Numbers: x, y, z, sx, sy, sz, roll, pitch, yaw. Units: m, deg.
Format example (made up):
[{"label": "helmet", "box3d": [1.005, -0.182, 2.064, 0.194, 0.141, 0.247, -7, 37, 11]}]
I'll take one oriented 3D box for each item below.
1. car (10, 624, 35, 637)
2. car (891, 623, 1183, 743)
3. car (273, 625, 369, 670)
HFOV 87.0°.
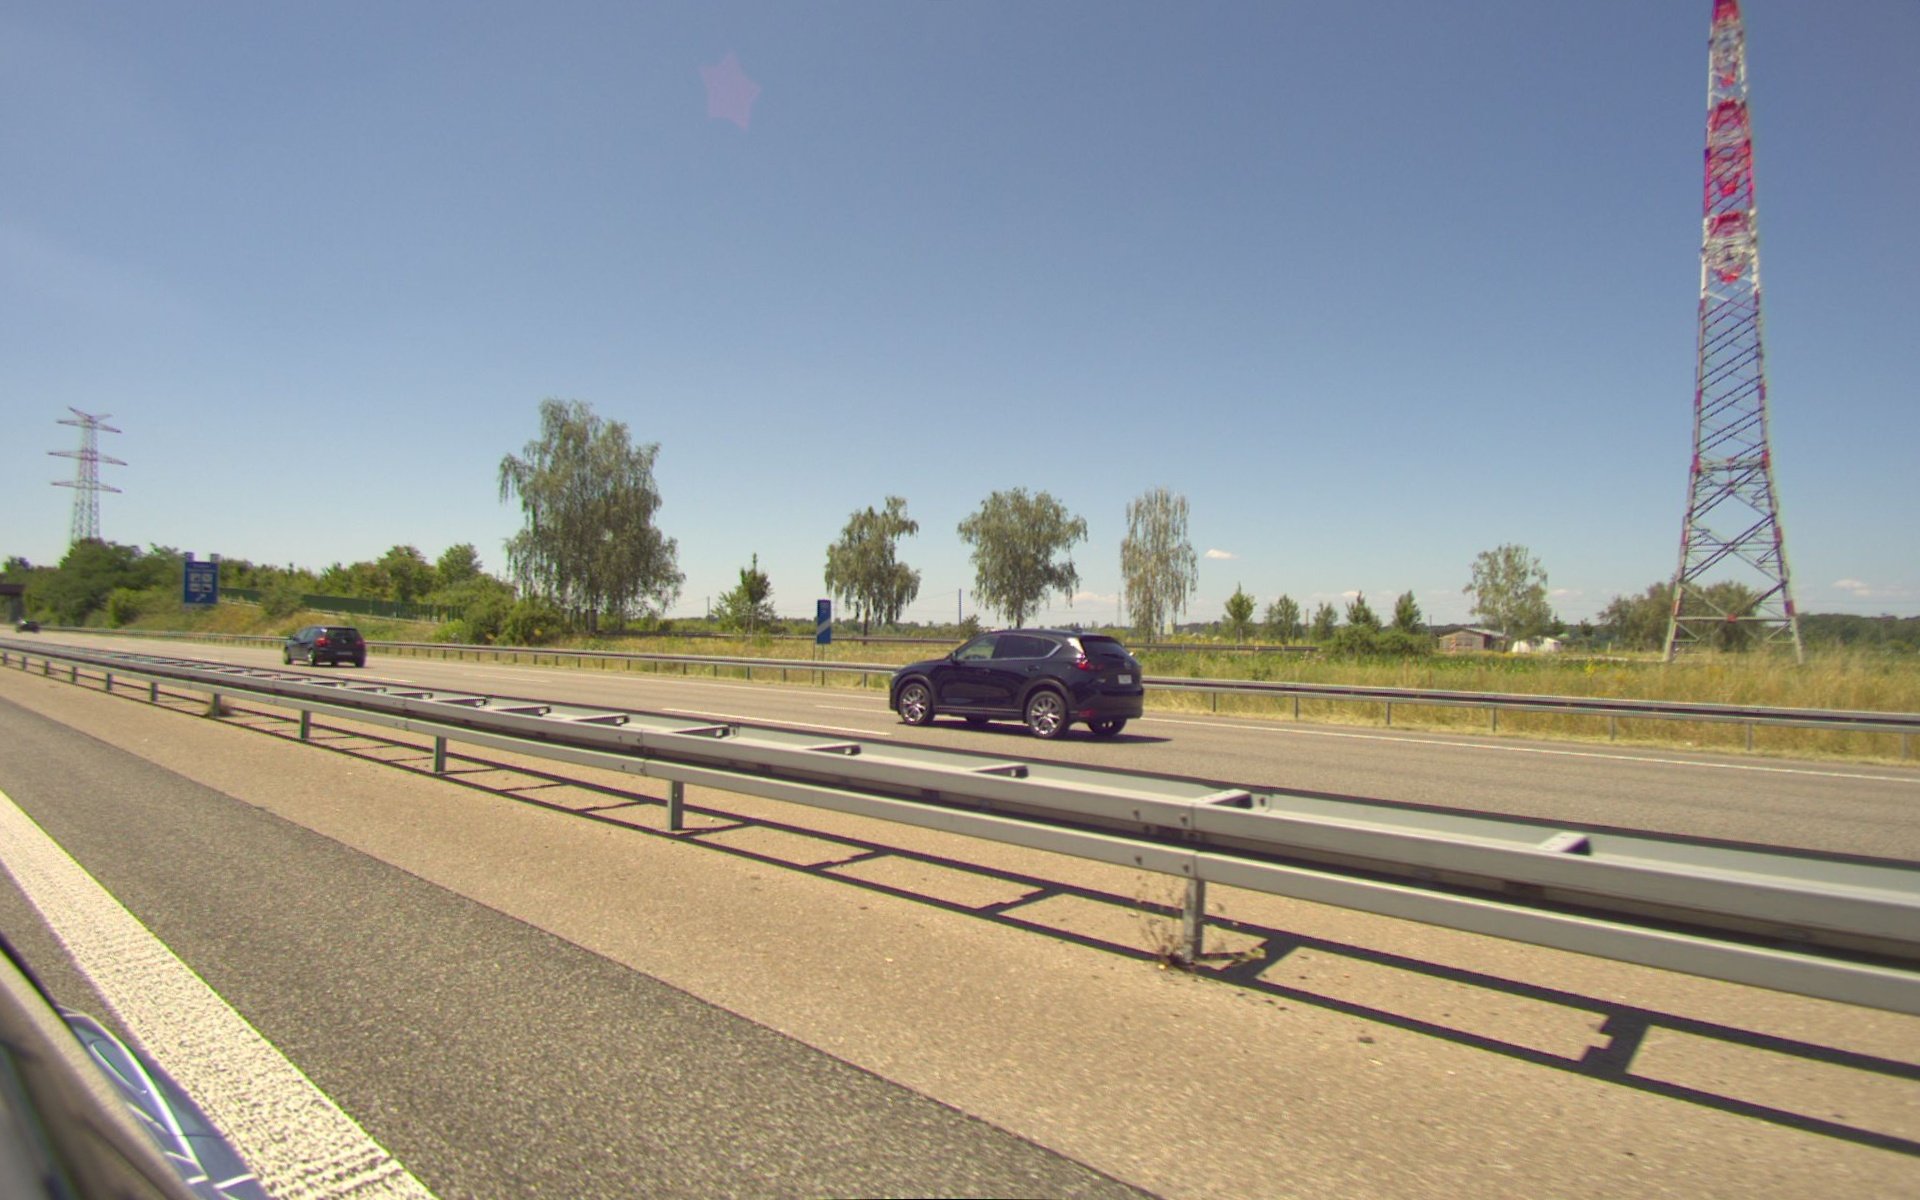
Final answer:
[{"label": "car", "box3d": [-108.094, 3.497, 116.639, 4.795, 1.460, 1.525, -1, -3, 41]}, {"label": "car", "box3d": [1.128, 1.246, 16.140, 4.411, 1.642, 1.821, -1, -5, 41]}, {"label": "car", "box3d": [-23.211, 1.699, 36.719, 4.280, 1.471, 1.601, -1, -5, 40]}]
